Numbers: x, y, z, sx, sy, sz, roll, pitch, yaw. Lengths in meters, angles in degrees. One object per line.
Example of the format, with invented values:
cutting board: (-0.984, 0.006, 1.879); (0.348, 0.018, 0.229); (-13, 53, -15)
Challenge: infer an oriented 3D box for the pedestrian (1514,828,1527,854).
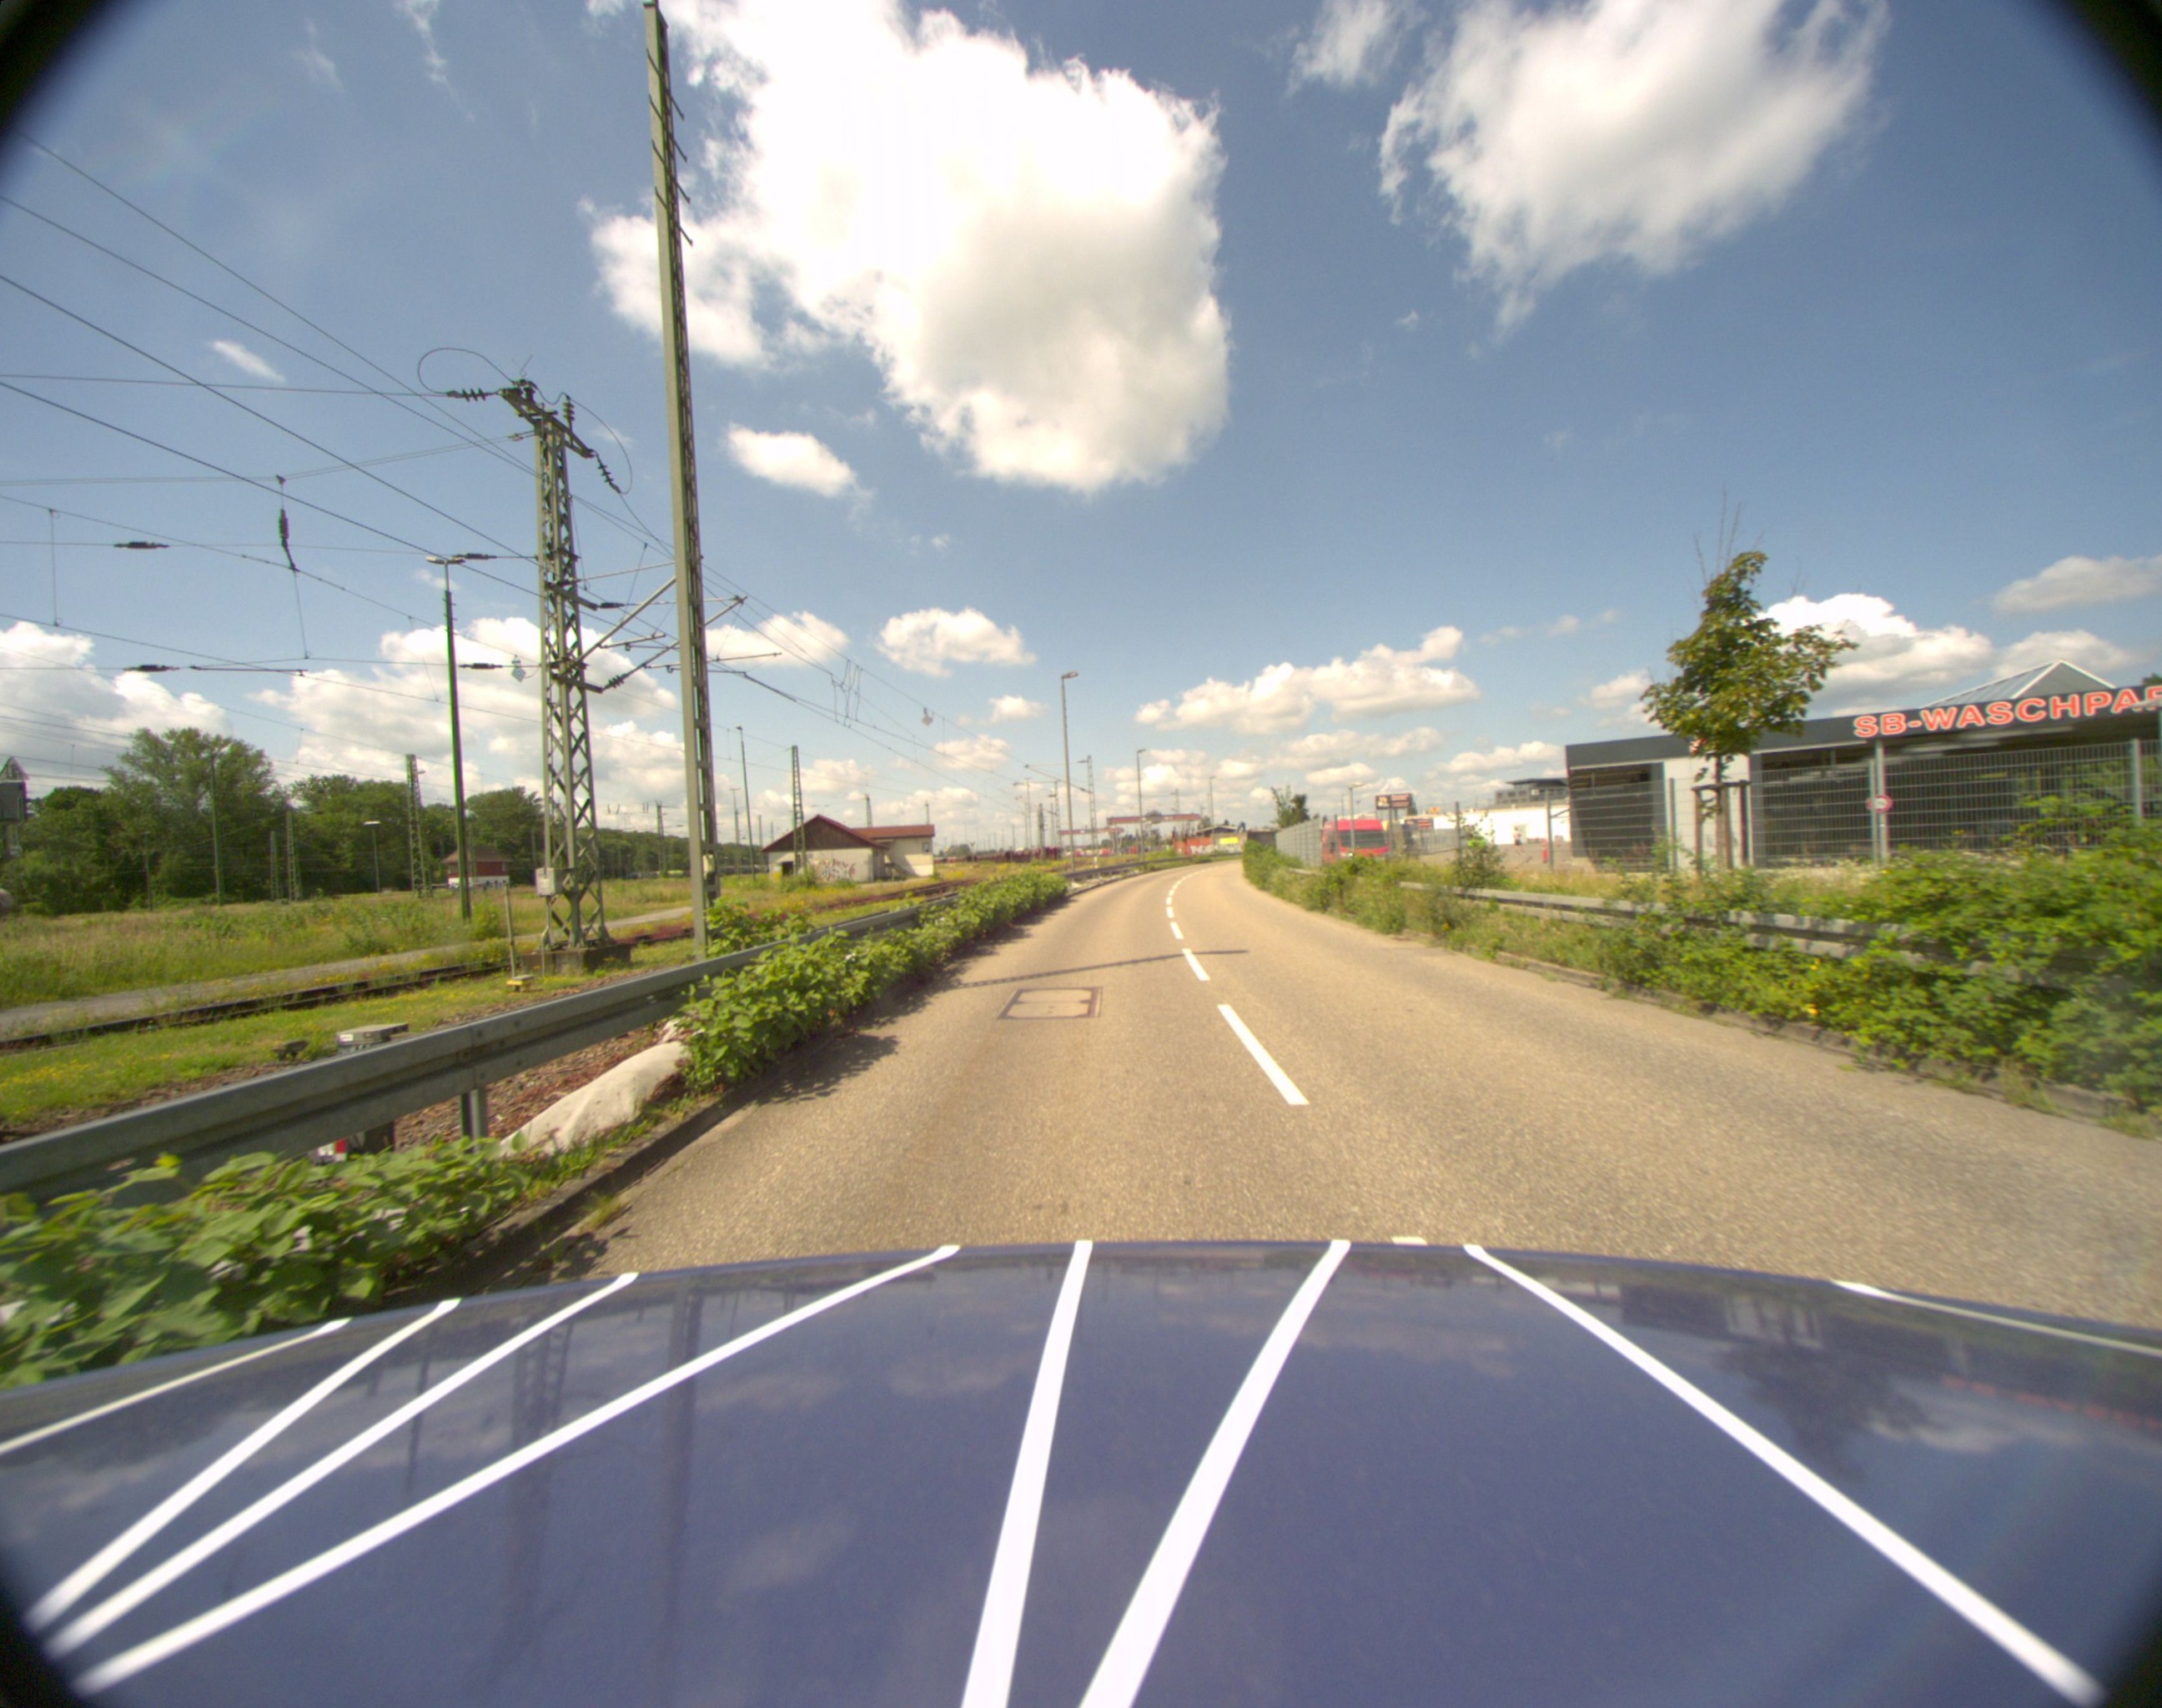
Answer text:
pedestrian: (30.357, -0.903, 52.477); (0.693, 1.739, 0.746); (-2, 2, 32)

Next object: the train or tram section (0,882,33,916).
train or tram section: (-107.462, 4.624, 69.744); (3.035, 3.286, 15.743); (-3, 1, -10)

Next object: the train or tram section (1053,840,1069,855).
train or tram section: (-5.529, -1.769, 205.801); (3.205, 3.695, 12.544); (-3, 0, -7)

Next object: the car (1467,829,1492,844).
car: (44.104, -1.939, 84.034); (1.917, 1.473, 4.306); (-3, 1, 33)

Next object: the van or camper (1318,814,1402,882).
van or camper: (11.218, -0.231, 30.992); (2.192, 2.500, 5.706); (0, 1, 9)

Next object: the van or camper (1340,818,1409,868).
van or camper: (15.834, -0.635, 40.807); (2.243, 2.411, 5.669); (-2, 1, 33)

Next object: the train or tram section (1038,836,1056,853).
train or tram section: (-8.288, -2.181, 182.287); (3.301, 3.695, 12.544); (-3, 0, -7)
